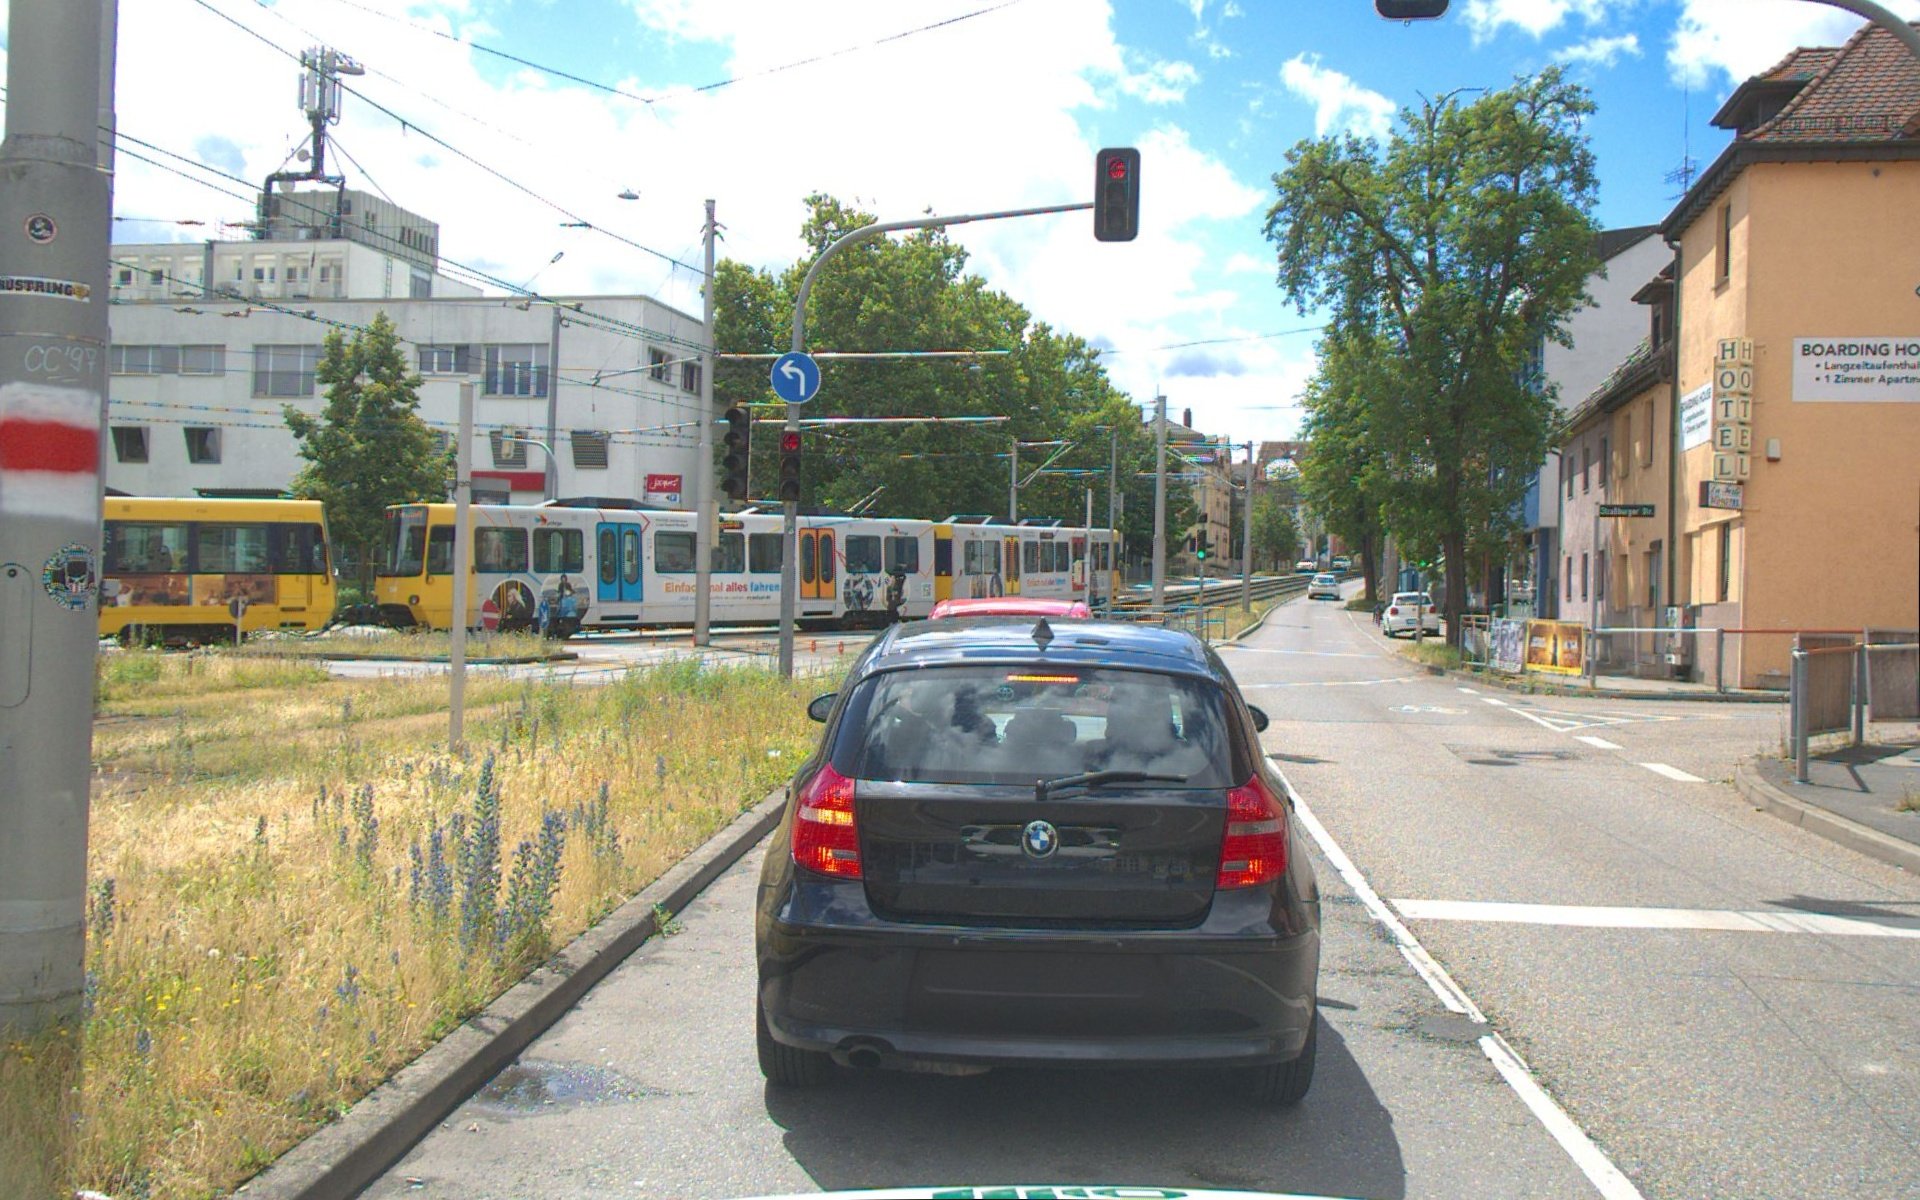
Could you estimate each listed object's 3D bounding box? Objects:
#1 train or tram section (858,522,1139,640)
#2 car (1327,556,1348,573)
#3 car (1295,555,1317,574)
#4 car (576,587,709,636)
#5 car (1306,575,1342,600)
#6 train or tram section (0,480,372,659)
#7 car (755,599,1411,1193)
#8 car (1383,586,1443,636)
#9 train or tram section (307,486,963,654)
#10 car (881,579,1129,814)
[{"bbox_3d":[2.223,-0.524,64.099,3.673,3.881,20.043,-1,-1,23],"label":"train or tram section"},{"bbox_3d":[47.425,-4.476,207.817,1.952,2.049,4.000,-1,-1,21],"label":"car"},{"bbox_3d":[39.422,-4.056,188.391,1.952,2.049,4.000,-1,-1,21],"label":"car"},{"bbox_3d":[-10.786,0.390,56.371,4.136,1.613,1.829,0,-1,-44],"label":"car"},{"bbox_3d":[22.501,-0.768,102.132,1.777,1.494,4.002,0,0,19],"label":"car"},{"bbox_3d":[-23.644,-0.645,36.640,19.827,3.896,3.731,0,-1,-25],"label":"train or tram section"},{"bbox_3d":[0.218,0.762,6.193,1.667,1.477,3.997,0,-1,-3],"label":"car"},{"bbox_3d":[15.314,0.370,56.059,1.749,1.624,4.003,0,-1,12],"label":"car"},{"bbox_3d":[-8.141,-0.649,47.764,3.695,3.947,20.506,-1,-1,42],"label":"train or tram section"},{"bbox_3d":[0.476,0.640,12.623,1.590,1.499,4.002,0,-1,6],"label":"car"}]
